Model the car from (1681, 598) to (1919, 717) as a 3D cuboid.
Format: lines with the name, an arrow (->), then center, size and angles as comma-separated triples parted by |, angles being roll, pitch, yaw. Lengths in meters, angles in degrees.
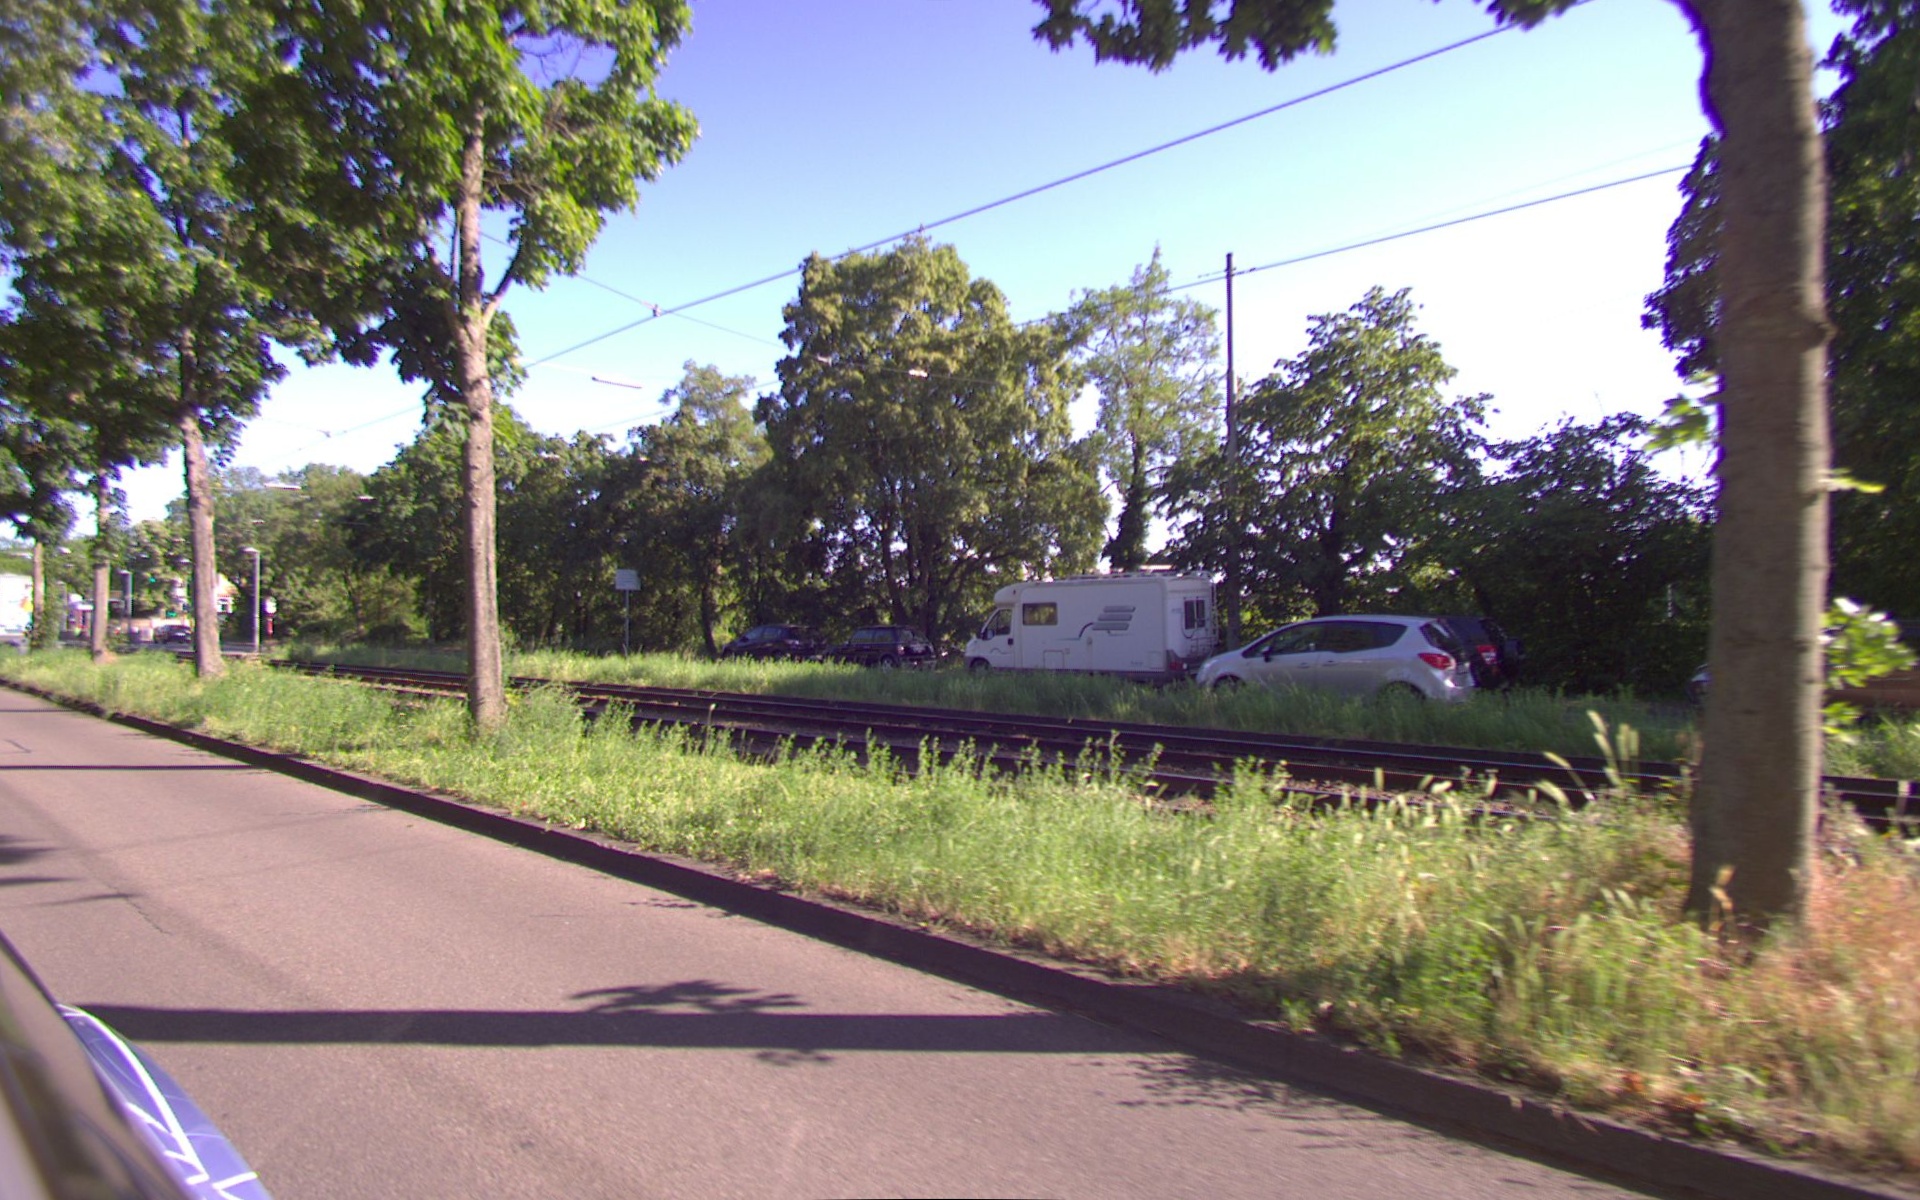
car -> 13.502, 0.805, 15.144 | 4.247, 1.596, 1.656 | -1, 2, 43

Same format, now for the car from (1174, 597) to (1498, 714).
car -> 5.777, 0.775, 15.894 | 4.440, 1.539, 1.709 | -1, 2, 41

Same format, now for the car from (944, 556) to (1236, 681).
car -> 2.913, 0.425, 24.201 | 6.795, 2.600, 2.203 | -2, 1, 41

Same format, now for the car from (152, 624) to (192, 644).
car -> -60.121, 2.578, 77.171 | 4.591, 1.506, 1.619 | -1, -2, 42

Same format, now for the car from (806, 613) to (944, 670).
car -> -2.513, 1.148, 29.361 | 3.999, 1.445, 1.693 | -1, 2, 42

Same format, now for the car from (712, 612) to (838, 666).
car -> -5.991, 1.199, 32.520 | 4.282, 1.575, 1.748 | 0, 1, 43

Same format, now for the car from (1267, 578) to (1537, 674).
car -> 8.471, 0.459, 19.639 | 4.530, 1.634, 1.606 | -1, 2, 40
